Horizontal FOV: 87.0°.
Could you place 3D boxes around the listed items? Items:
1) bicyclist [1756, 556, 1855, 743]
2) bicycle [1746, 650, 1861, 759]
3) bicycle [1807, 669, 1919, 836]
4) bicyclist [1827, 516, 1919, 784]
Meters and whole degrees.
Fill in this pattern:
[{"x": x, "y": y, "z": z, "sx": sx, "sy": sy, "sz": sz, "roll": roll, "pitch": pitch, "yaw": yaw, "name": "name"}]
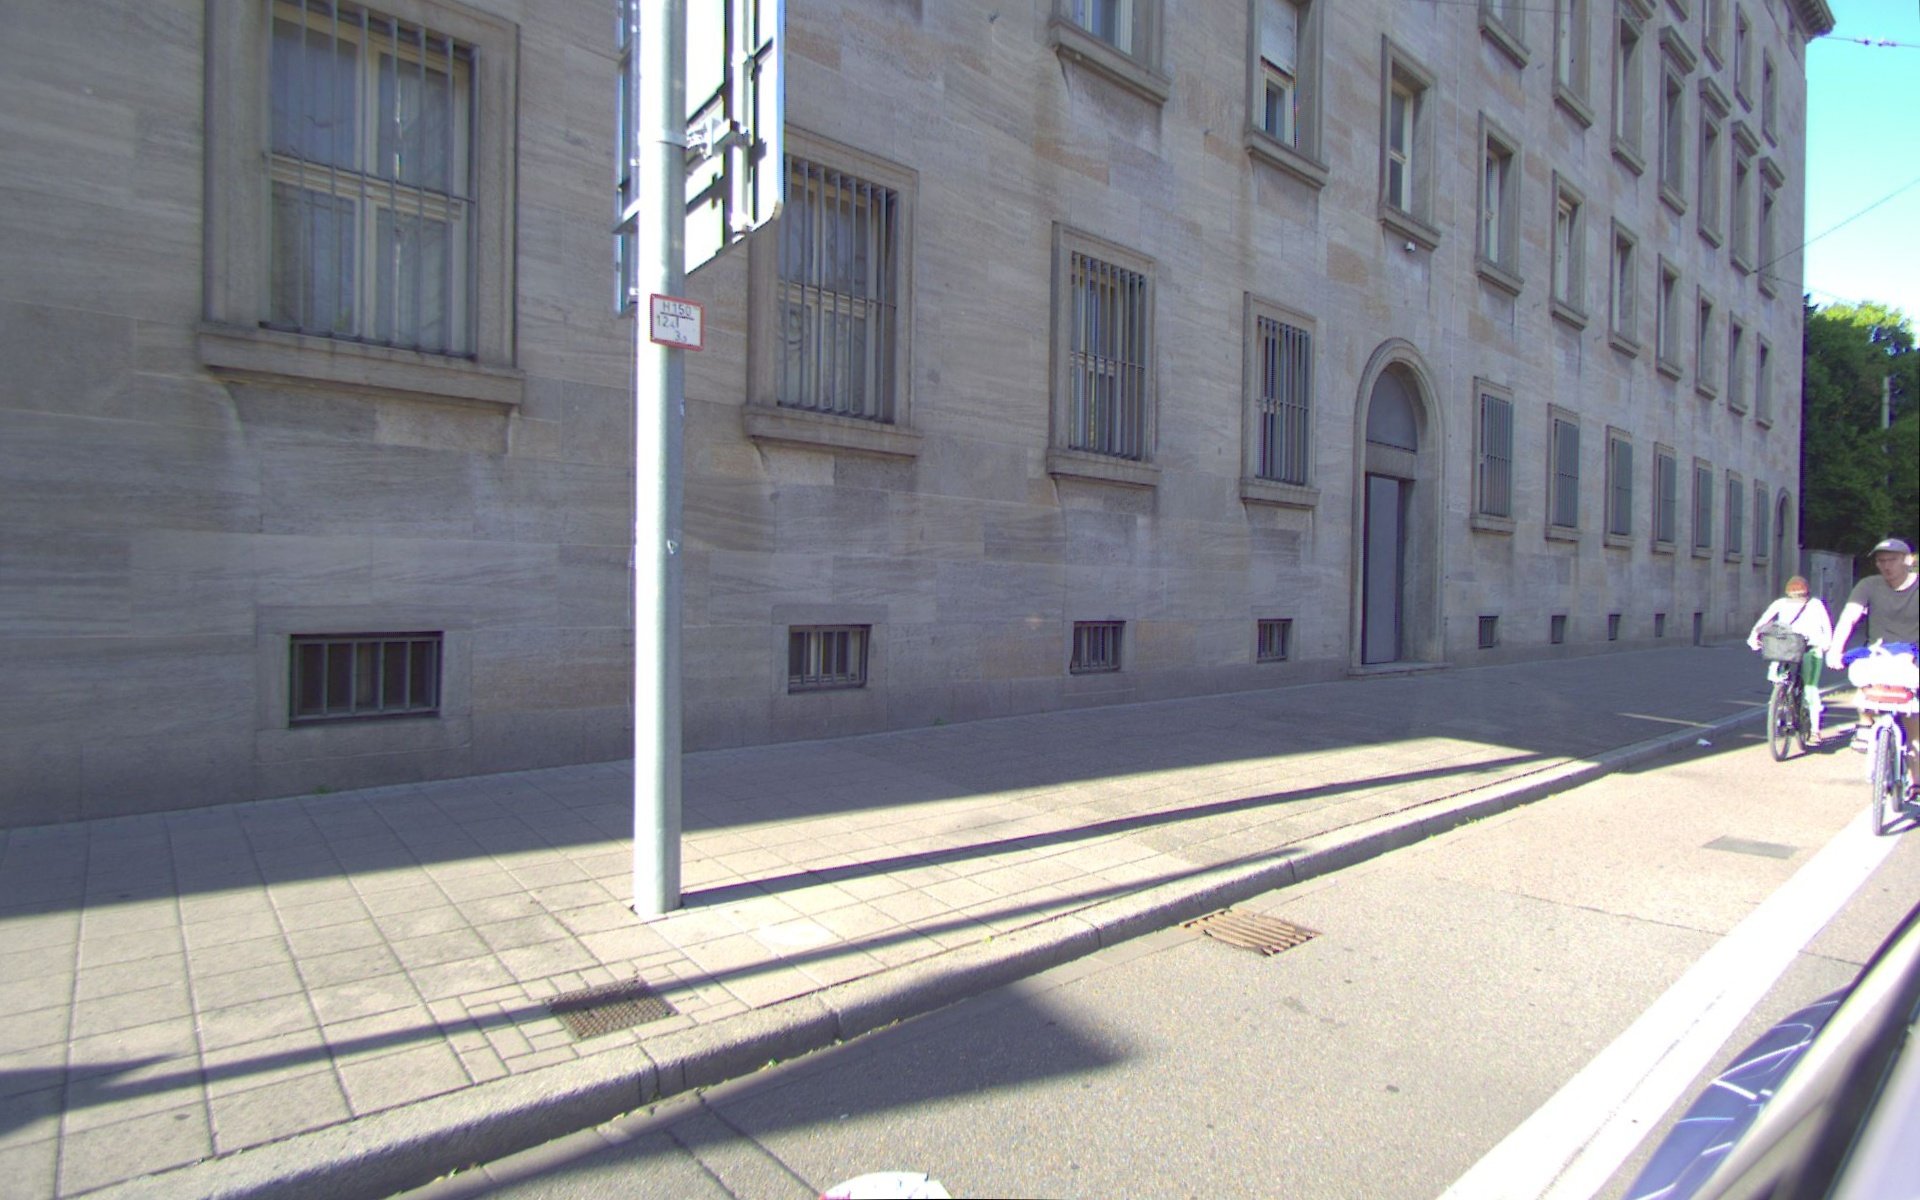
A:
[{"x": 8.100, "y": 0.443, "z": 9.687, "sx": 0.843, "sy": 1.700, "sz": 0.523, "roll": 0, "pitch": 1, "yaw": -37, "name": "bicyclist"}, {"x": 8.029, "y": 0.952, "z": 9.607, "sx": 1.915, "sy": 0.887, "sz": 0.428, "roll": 1, "pitch": 1, "yaw": -38, "name": "bicycle"}, {"x": 6.341, "y": 0.972, "z": 6.819, "sx": 1.912, "sy": 0.916, "sz": 0.391, "roll": 0, "pitch": 1, "yaw": -32, "name": "bicycle"}, {"x": 6.286, "y": 0.312, "z": 6.702, "sx": 0.644, "sy": 1.699, "sz": 0.672, "roll": 0, "pitch": 1, "yaw": -36, "name": "bicyclist"}]
